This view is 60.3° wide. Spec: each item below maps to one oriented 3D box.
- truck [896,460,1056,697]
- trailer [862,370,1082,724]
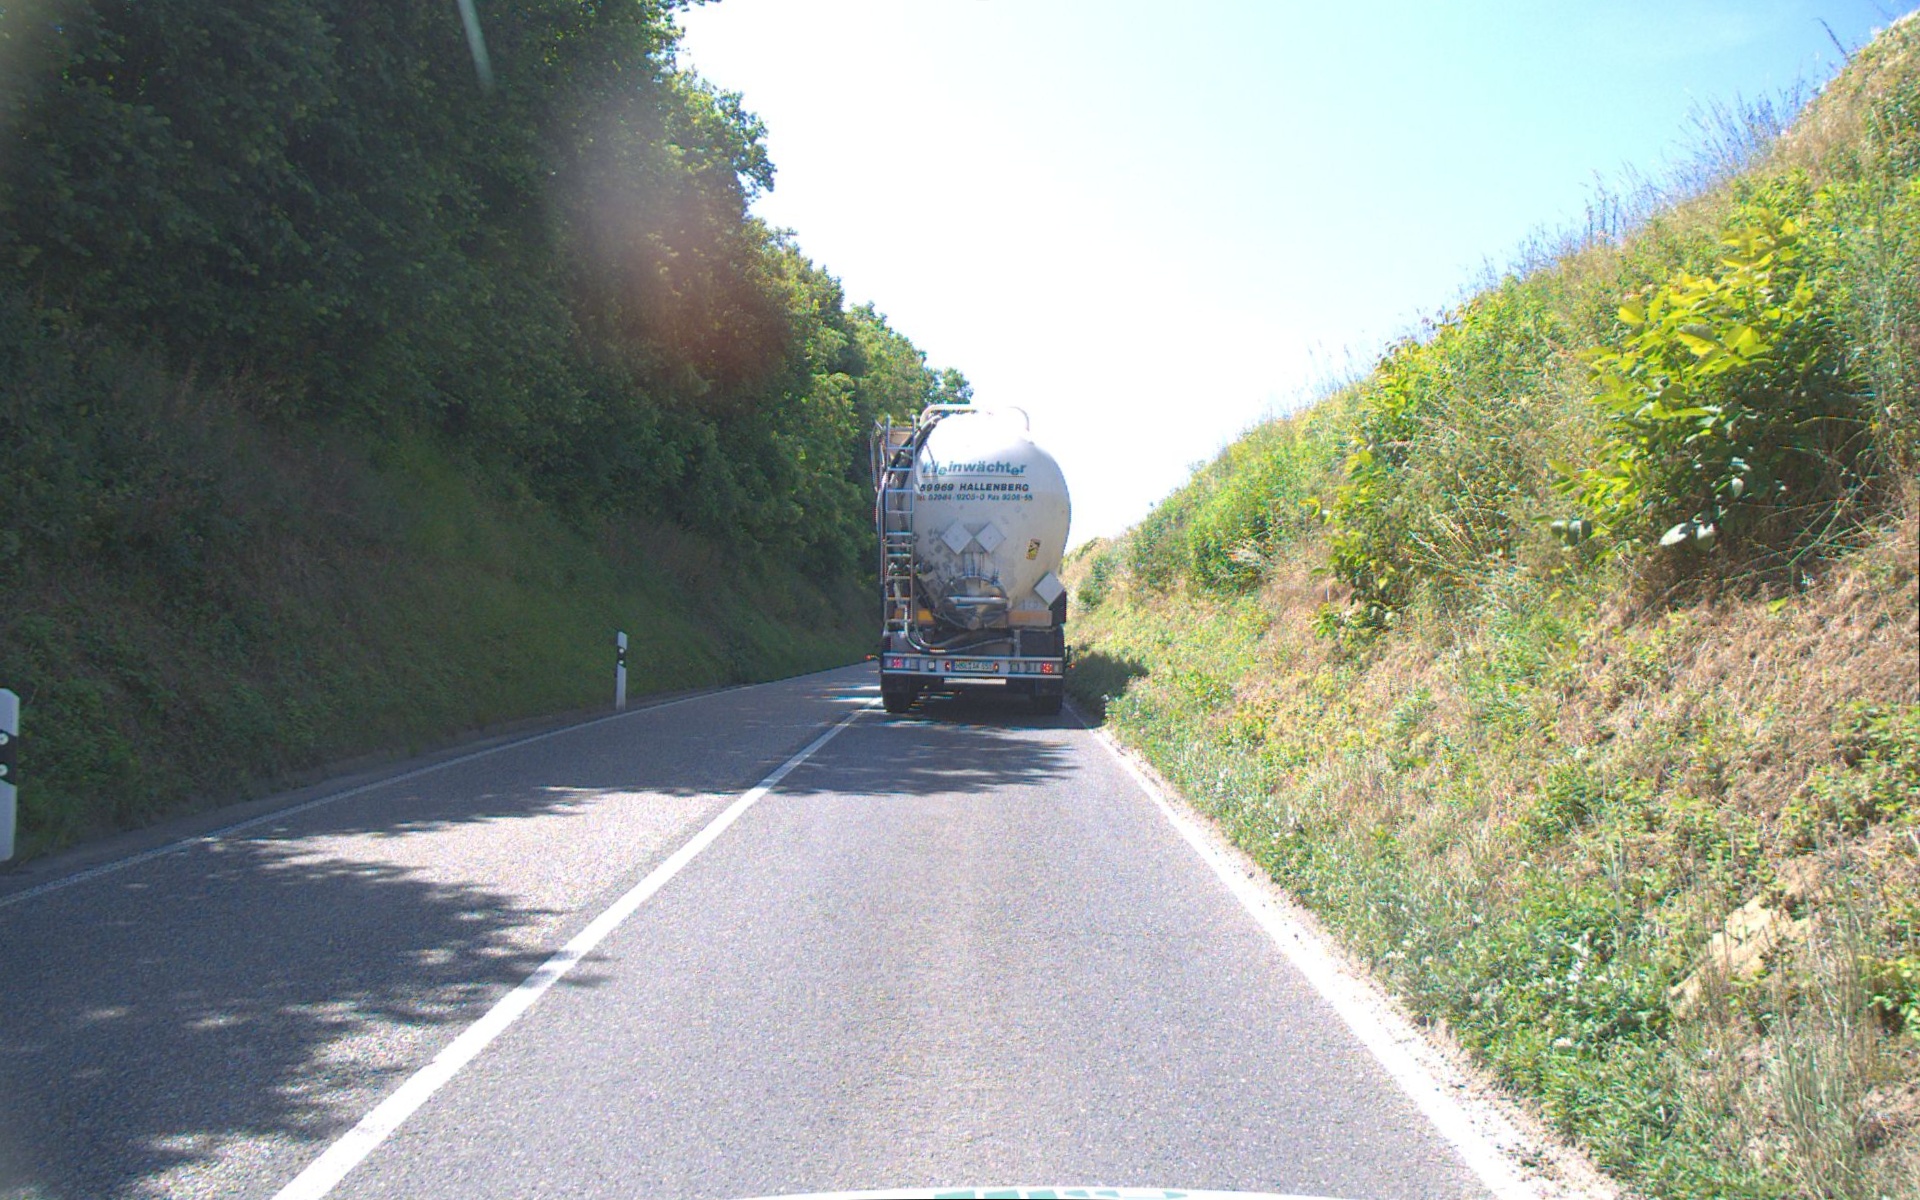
[{"bbox_3d":[0.319,-0.274,31.756,2.671,3.999,7.263,-1,-2,1],"label":"truck"},{"bbox_3d":[0.230,-0.523,26.062,2.606,4.262,11.903,1,-1,1],"label":"trailer"}]
